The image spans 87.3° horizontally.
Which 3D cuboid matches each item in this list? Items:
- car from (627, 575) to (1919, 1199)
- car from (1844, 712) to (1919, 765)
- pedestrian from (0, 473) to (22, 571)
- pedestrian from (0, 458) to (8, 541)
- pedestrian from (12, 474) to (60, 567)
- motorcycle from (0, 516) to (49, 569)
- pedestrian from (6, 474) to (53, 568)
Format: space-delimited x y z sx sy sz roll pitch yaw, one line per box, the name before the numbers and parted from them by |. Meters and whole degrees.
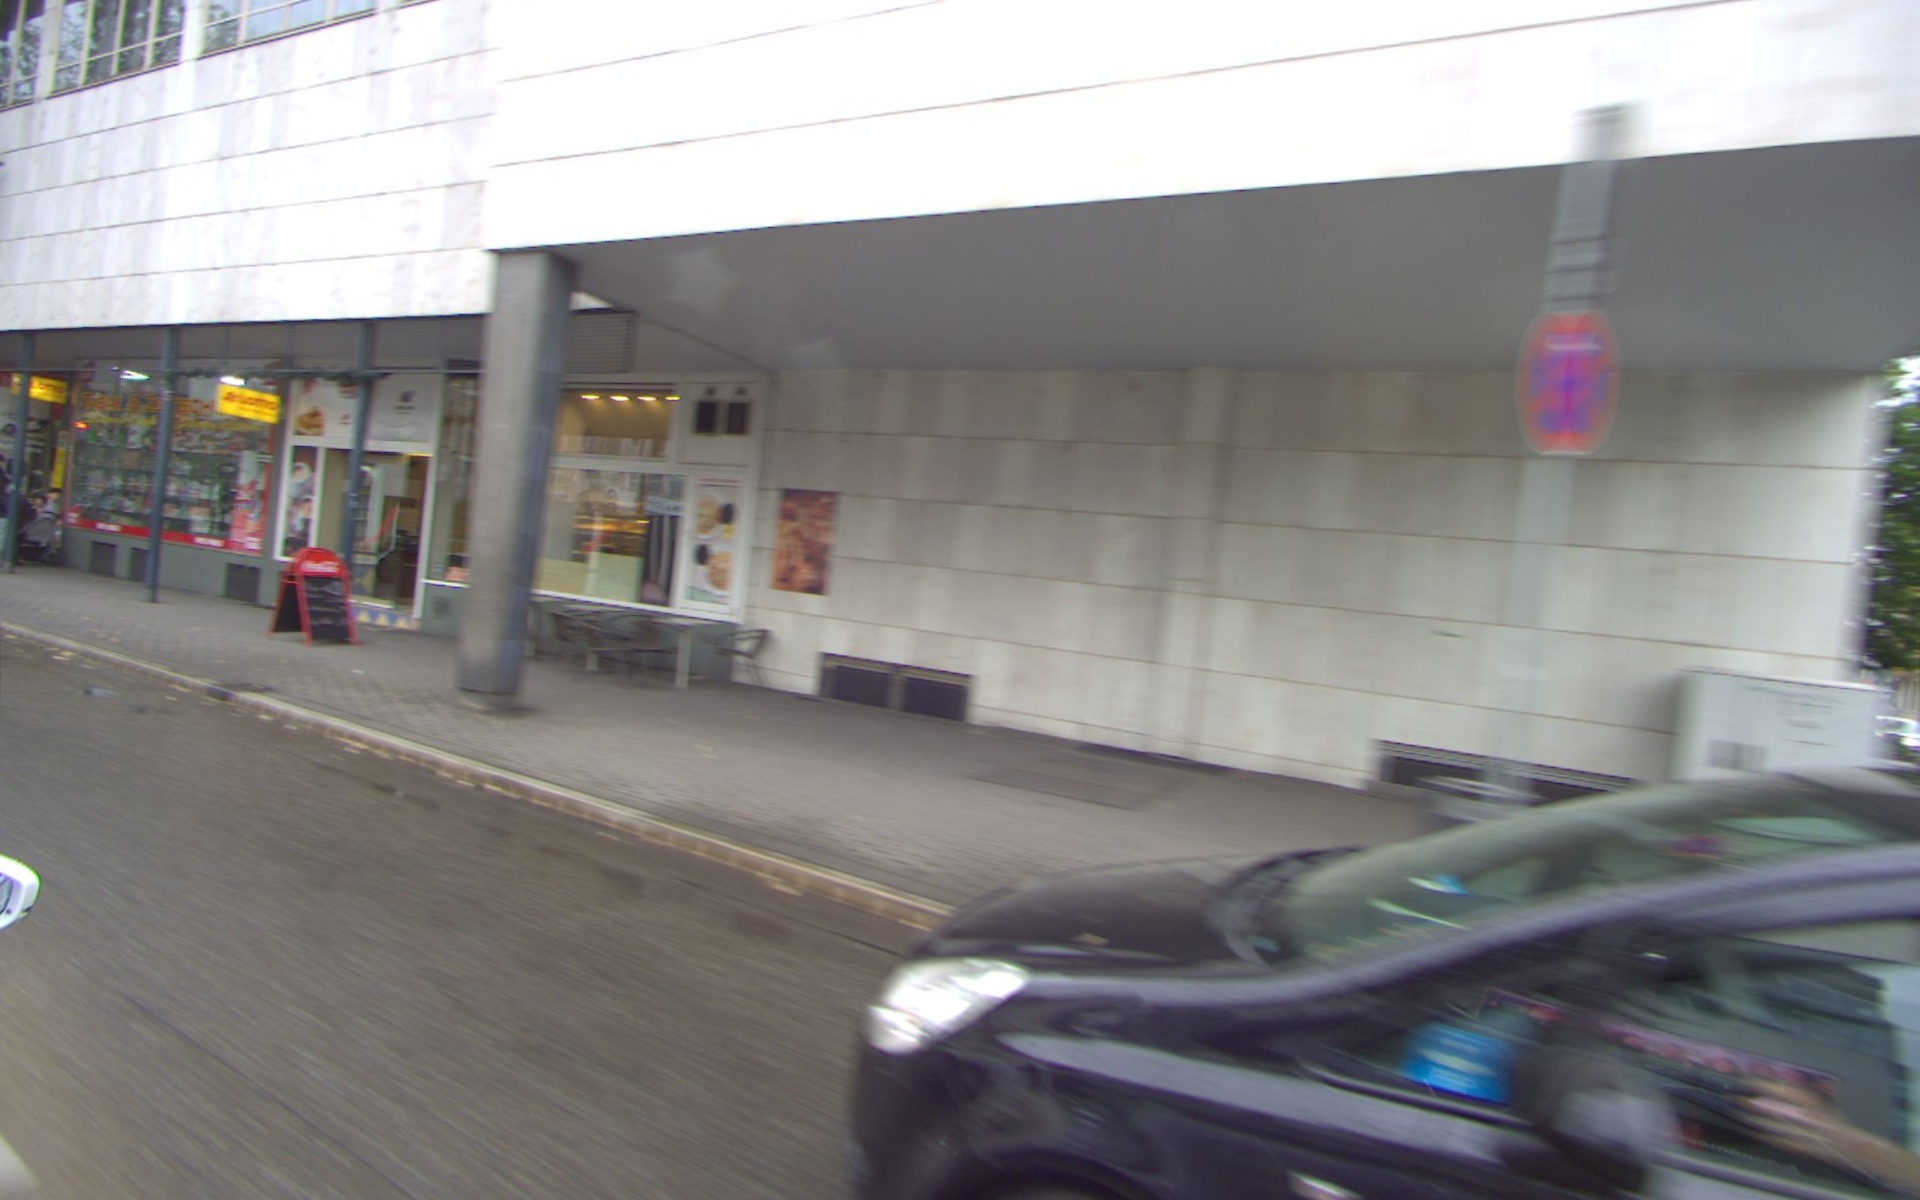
car | 1.382 0.940 1.844 3.679 1.474 1.711 7 -1 31
car | 33.338 4.929 35.810 1.771 1.488 3.994 6 0 27
pedestrian | -15.909 -1.307 16.570 0.500 1.587 0.430 7 2 26
pedestrian | -18.504 -1.930 19.041 0.424 1.587 0.507 6 2 -17
pedestrian | -16.634 -1.429 18.108 0.501 1.587 0.429 7 2 31
motorcycle | -16.404 -1.007 17.618 0.904 0.814 0.324 8 2 27
pedestrian | -16.316 -1.380 17.644 0.422 1.587 0.387 7 2 24
